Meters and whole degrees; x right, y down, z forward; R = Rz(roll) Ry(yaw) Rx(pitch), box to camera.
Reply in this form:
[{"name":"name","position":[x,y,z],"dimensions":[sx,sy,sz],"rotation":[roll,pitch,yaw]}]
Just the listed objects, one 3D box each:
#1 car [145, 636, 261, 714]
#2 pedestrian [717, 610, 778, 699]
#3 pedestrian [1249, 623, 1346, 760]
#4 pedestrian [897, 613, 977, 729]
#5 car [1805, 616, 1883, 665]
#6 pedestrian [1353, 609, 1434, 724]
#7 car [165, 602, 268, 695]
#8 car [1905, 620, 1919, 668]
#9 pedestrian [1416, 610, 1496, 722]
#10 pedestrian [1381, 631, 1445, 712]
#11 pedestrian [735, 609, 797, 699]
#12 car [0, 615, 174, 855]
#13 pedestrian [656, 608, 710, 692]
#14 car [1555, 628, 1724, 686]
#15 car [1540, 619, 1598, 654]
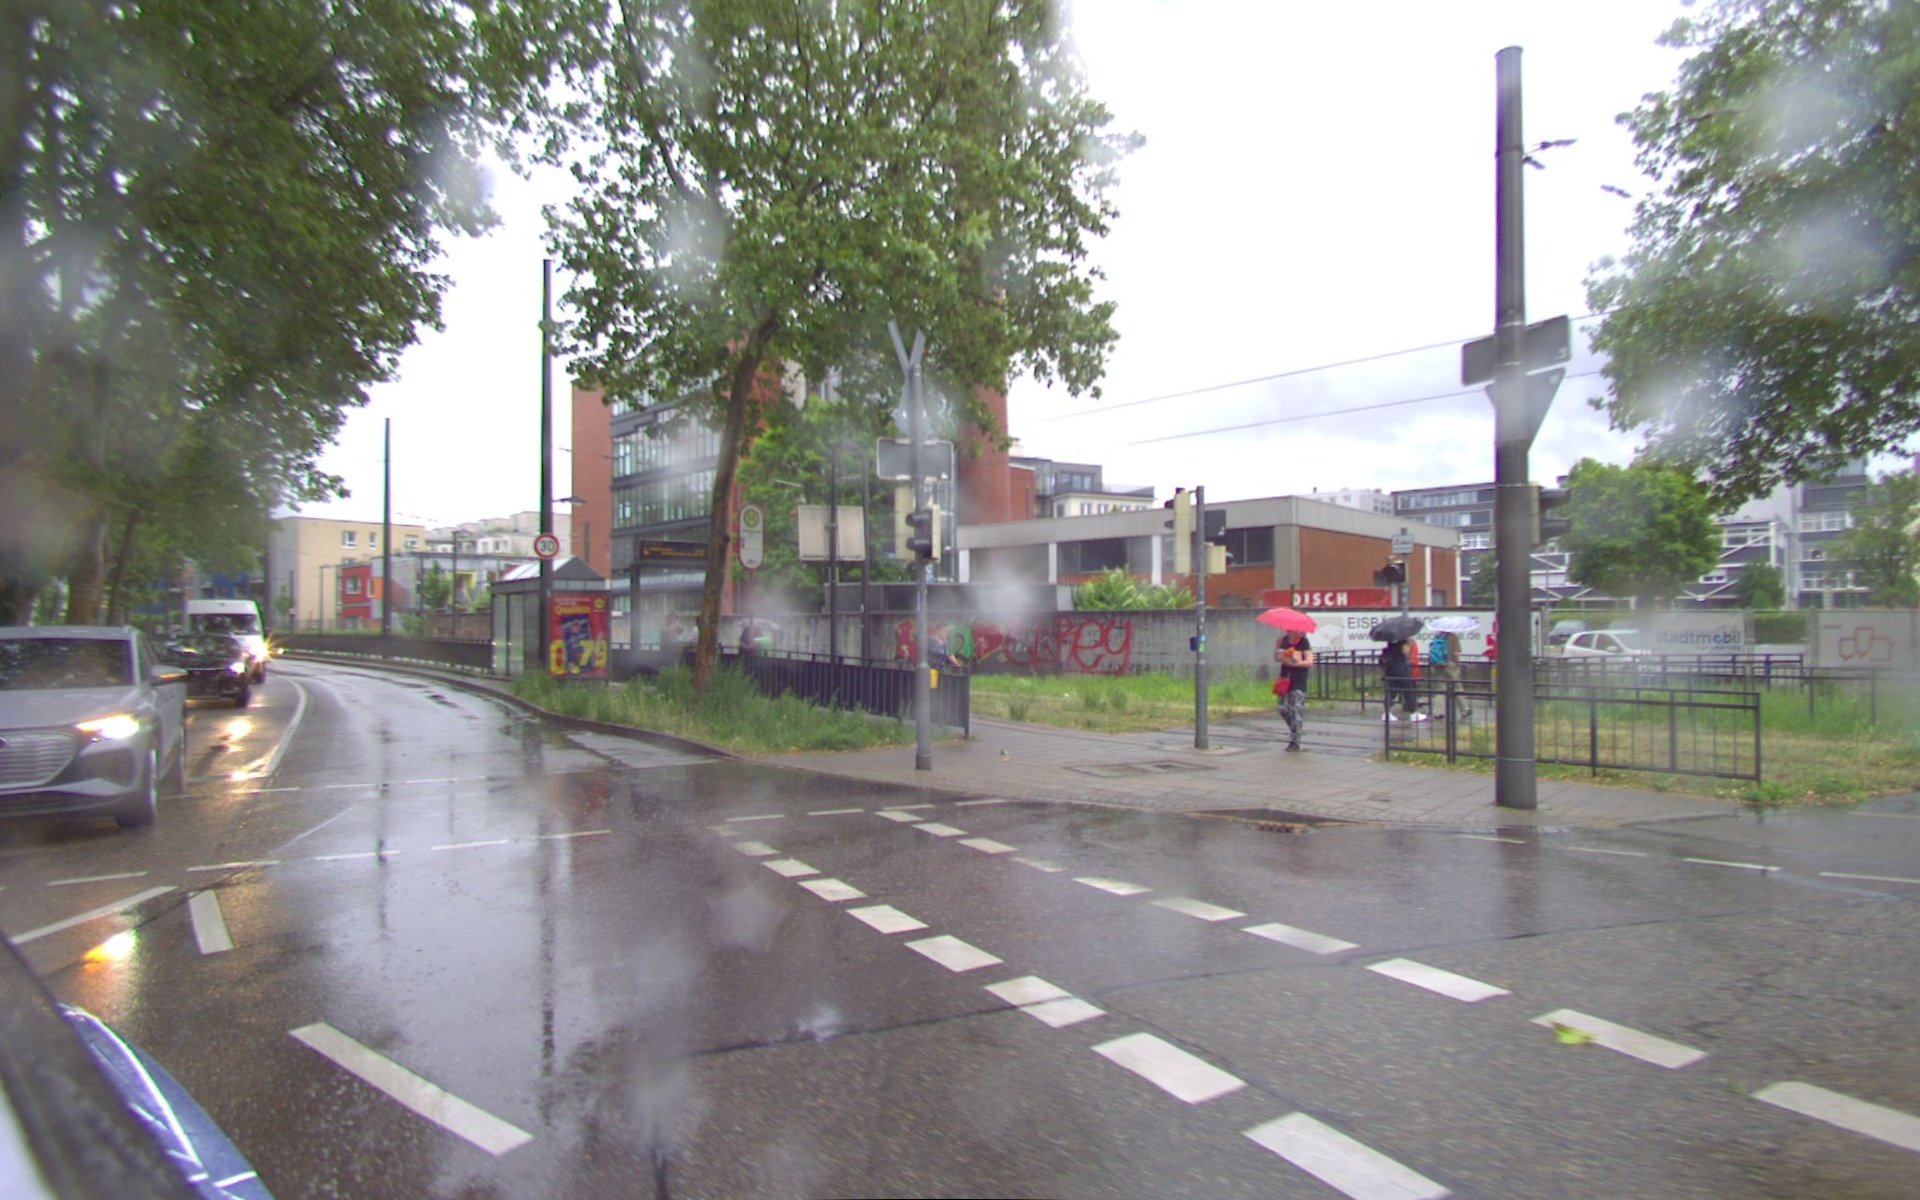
[{"name":"car","position":[-16.042,1.541,21.600],"dimensions":[1.824,1.455,4.010],"rotation":[1,-3,-35]},{"name":"pedestrian","position":[-4.174,1.058,19.888],"dimensions":[0.847,1.701,0.849],"rotation":[1,-3,-44]},{"name":"pedestrian","position":[4.383,1.158,13.160],"dimensions":[0.836,1.701,0.861],"rotation":[1,-3,-43]},{"name":"pedestrian","position":[-0.355,1.061,15.442],"dimensions":[0.847,1.701,0.849],"rotation":[1,-3,-44]},{"name":"car","position":[35.494,1.599,40.614],"dimensions":[3.941,1.806,2.001],"rotation":[-1,-1,-44]},{"name":"pedestrian","position":[7.350,1.115,17.169],"dimensions":[0.836,1.876,0.957],"rotation":[1,-3,-43]},{"name":"car","position":[-22.863,1.421,31.348],"dimensions":[2.246,2.582,6.529],"rotation":[0,-1,-33]},{"name":"car","position":[27.864,1.202,26.873],"dimensions":[1.814,1.331,3.671],"rotation":[0,-1,-8]},{"name":"pedestrian","position":[8.621,1.129,17.600],"dimensions":[0.836,1.876,0.957],"rotation":[1,-3,-43]},{"name":"pedestrian","position":[8.788,1.370,19.630],"dimensions":[0.836,1.516,0.830],"rotation":[1,-3,-43]},{"name":"pedestrian","position":[-3.793,1.043,19.747],"dimensions":[0.847,1.701,0.849],"rotation":[1,-3,-44]},{"name":"car","position":[-7.850,1.009,8.529],"dimensions":[1.780,1.633,4.147],"rotation":[1,-3,-36]},{"name":"pedestrian","position":[-6.296,1.133,22.992],"dimensions":[0.847,1.846,0.849],"rotation":[1,-4,-44]},{"name":"car","position":[17.581,1.442,26.414],"dimensions":[1.817,1.331,3.667],"rotation":[-1,-1,-2]},{"name":"car","position":[32.920,1.937,54.692],"dimensions":[1.998,1.750,4.526],"rotation":[-2,-2,40]}]
